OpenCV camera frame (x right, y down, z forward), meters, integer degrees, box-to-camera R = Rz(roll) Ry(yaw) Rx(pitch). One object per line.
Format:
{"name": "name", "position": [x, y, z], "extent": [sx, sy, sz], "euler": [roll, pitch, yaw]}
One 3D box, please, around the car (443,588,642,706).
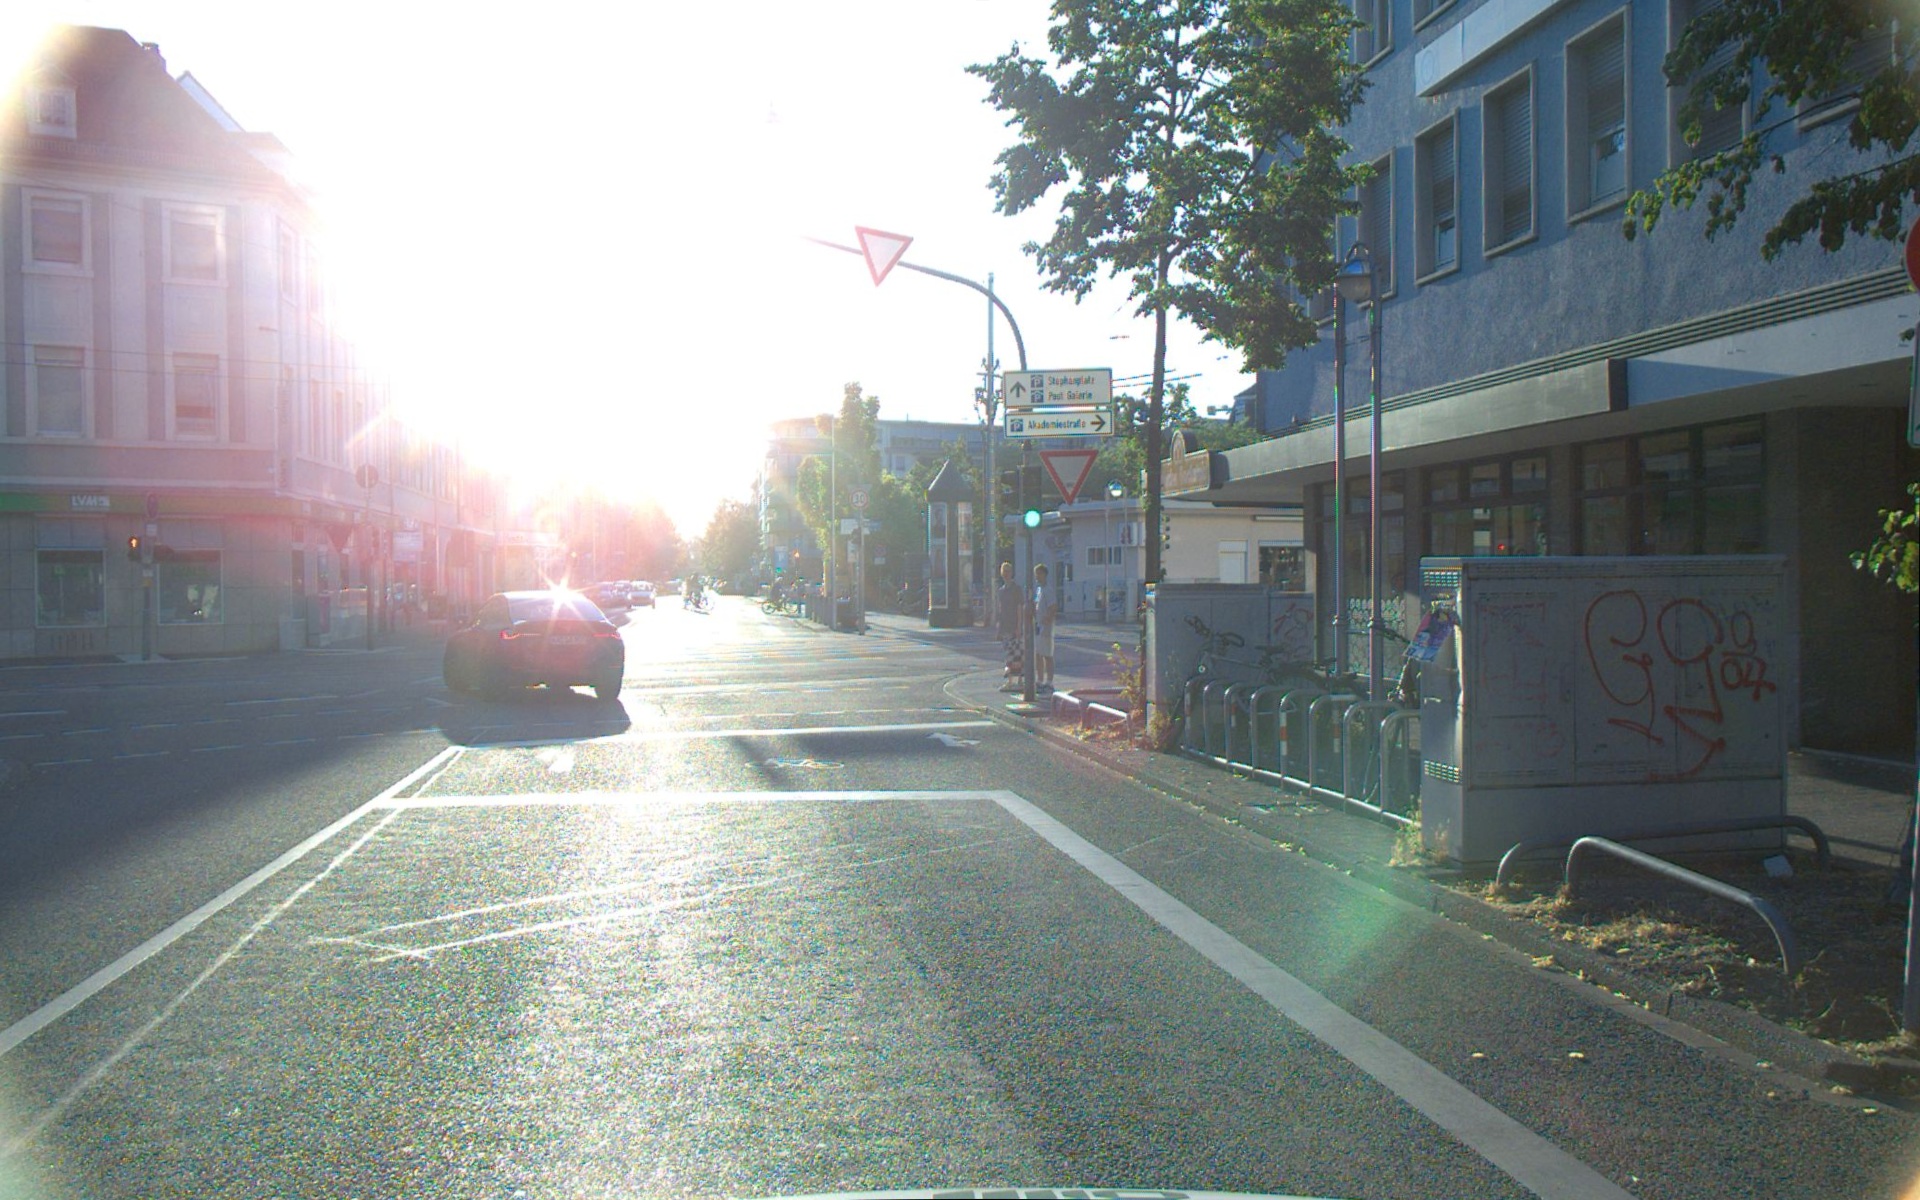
{"name": "car", "position": [-6.037, 0.611, 23.527], "extent": [1.867, 1.506, 4.505], "euler": [1, 0, -26]}

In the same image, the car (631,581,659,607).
{"name": "car", "position": [-18.325, -0.343, 96.288], "extent": [1.517, 1.493, 3.344], "euler": [0, 0, -10]}

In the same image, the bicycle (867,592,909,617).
{"name": "bicycle", "position": [-3.633, 0.206, 83.900], "extent": [2.073, 1.225, 0.500], "euler": [1, -1, 2]}

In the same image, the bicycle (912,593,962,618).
{"name": "bicycle", "position": [-0.933, 0.228, 67.431], "extent": [2.035, 0.999, 0.560], "euler": [-1, 0, -1]}

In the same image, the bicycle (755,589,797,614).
{"name": "bicycle", "position": [-9.329, 0.095, 83.808], "extent": [2.074, 1.225, 0.500], "euler": [1, -1, 1]}

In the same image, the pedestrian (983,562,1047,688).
{"name": "pedestrian", "position": [0.806, 0.356, 24.247], "extent": [0.581, 1.804, 0.739], "euler": [-1, 0, -40]}

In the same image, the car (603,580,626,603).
{"name": "car", "position": [-24.454, -0.612, 117.238], "extent": [1.456, 1.586, 3.251], "euler": [0, 0, -10]}

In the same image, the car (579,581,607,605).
{"name": "car", "position": [-23.234, -0.413, 104.801], "extent": [1.517, 1.494, 3.344], "euler": [0, 0, -10]}

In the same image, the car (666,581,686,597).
{"name": "car", "position": [-31.939, -1.275, 186.066], "extent": [1.956, 1.713, 3.994], "euler": [-1, 1, -7]}

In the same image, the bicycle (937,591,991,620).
{"name": "bicycle", "position": [0.154, 0.197, 61.772], "extent": [1.979, 1.062, 0.560], "euler": [-1, 0, -1]}

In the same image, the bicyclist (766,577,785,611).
{"name": "bicyclist", "position": [-9.333, -0.285, 83.809], "extent": [0.833, 1.687, 0.676], "euler": [1, -1, 2]}

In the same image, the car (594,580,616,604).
{"name": "car", "position": [-23.921, -0.555, 111.470], "extent": [1.283, 1.610, 2.882], "euler": [0, 0, -10]}

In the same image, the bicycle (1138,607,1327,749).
{"name": "bicycle", "position": [2.445, 0.682, 14.857], "extent": [1.629, 1.215, 0.475], "euler": [0, 1, -15]}

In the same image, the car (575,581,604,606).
{"name": "car", "position": [-22.391, -0.374, 99.904], "extent": [1.517, 1.495, 3.344], "euler": [0, 0, -10]}

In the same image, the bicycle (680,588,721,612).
{"name": "bicycle", "position": [-13.504, 0.018, 86.069], "extent": [2.074, 1.225, 0.500], "euler": [1, -1, 0]}

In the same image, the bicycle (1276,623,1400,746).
{"name": "bicycle", "position": [3.524, 0.767, 15.559], "extent": [0.396, 1.028, 1.664], "euler": [-2, 1, -14]}

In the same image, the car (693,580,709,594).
{"name": "car", "position": [-35.754, -1.746, 228.539], "extent": [1.956, 1.847, 3.994], "euler": [1, 0, -7]}

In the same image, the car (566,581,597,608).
{"name": "car", "position": [-22.013, -0.332, 96.281], "extent": [1.517, 1.509, 3.344], "euler": [-1, 1, -10]}

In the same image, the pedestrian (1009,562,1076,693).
{"name": "pedestrian", "position": [1.160, 0.372, 23.303], "extent": [0.630, 1.804, 0.742], "euler": [-1, 1, -30]}

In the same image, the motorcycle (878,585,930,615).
{"name": "motorcycle", "position": [-2.385, 0.006, 70.420], "extent": [2.190, 1.222, 0.720], "euler": [-1, 1, -4]}

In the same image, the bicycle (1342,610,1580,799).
{"name": "bicycle", "position": [3.459, 0.687, 11.398], "extent": [1.633, 1.215, 0.491], "euler": [-1, 1, -22]}

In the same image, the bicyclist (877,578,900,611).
{"name": "bicyclist", "position": [-3.618, -0.284, 83.911], "extent": [1.105, 1.629, 0.702], "euler": [1, -1, 3]}

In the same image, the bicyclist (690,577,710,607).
{"name": "bicyclist", "position": [-13.546, -0.412, 86.087], "extent": [0.880, 1.507, 0.735], "euler": [1, -1, 1]}

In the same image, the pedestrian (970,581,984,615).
{"name": "pedestrian", "position": [0.823, -0.091, 81.268], "extent": [0.667, 1.686, 0.695], "euler": [1, -1, -1]}

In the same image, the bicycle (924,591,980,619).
{"name": "bicycle", "position": [-0.297, 0.195, 62.861], "extent": [2.103, 1.062, 0.560], "euler": [-1, 0, -1]}
